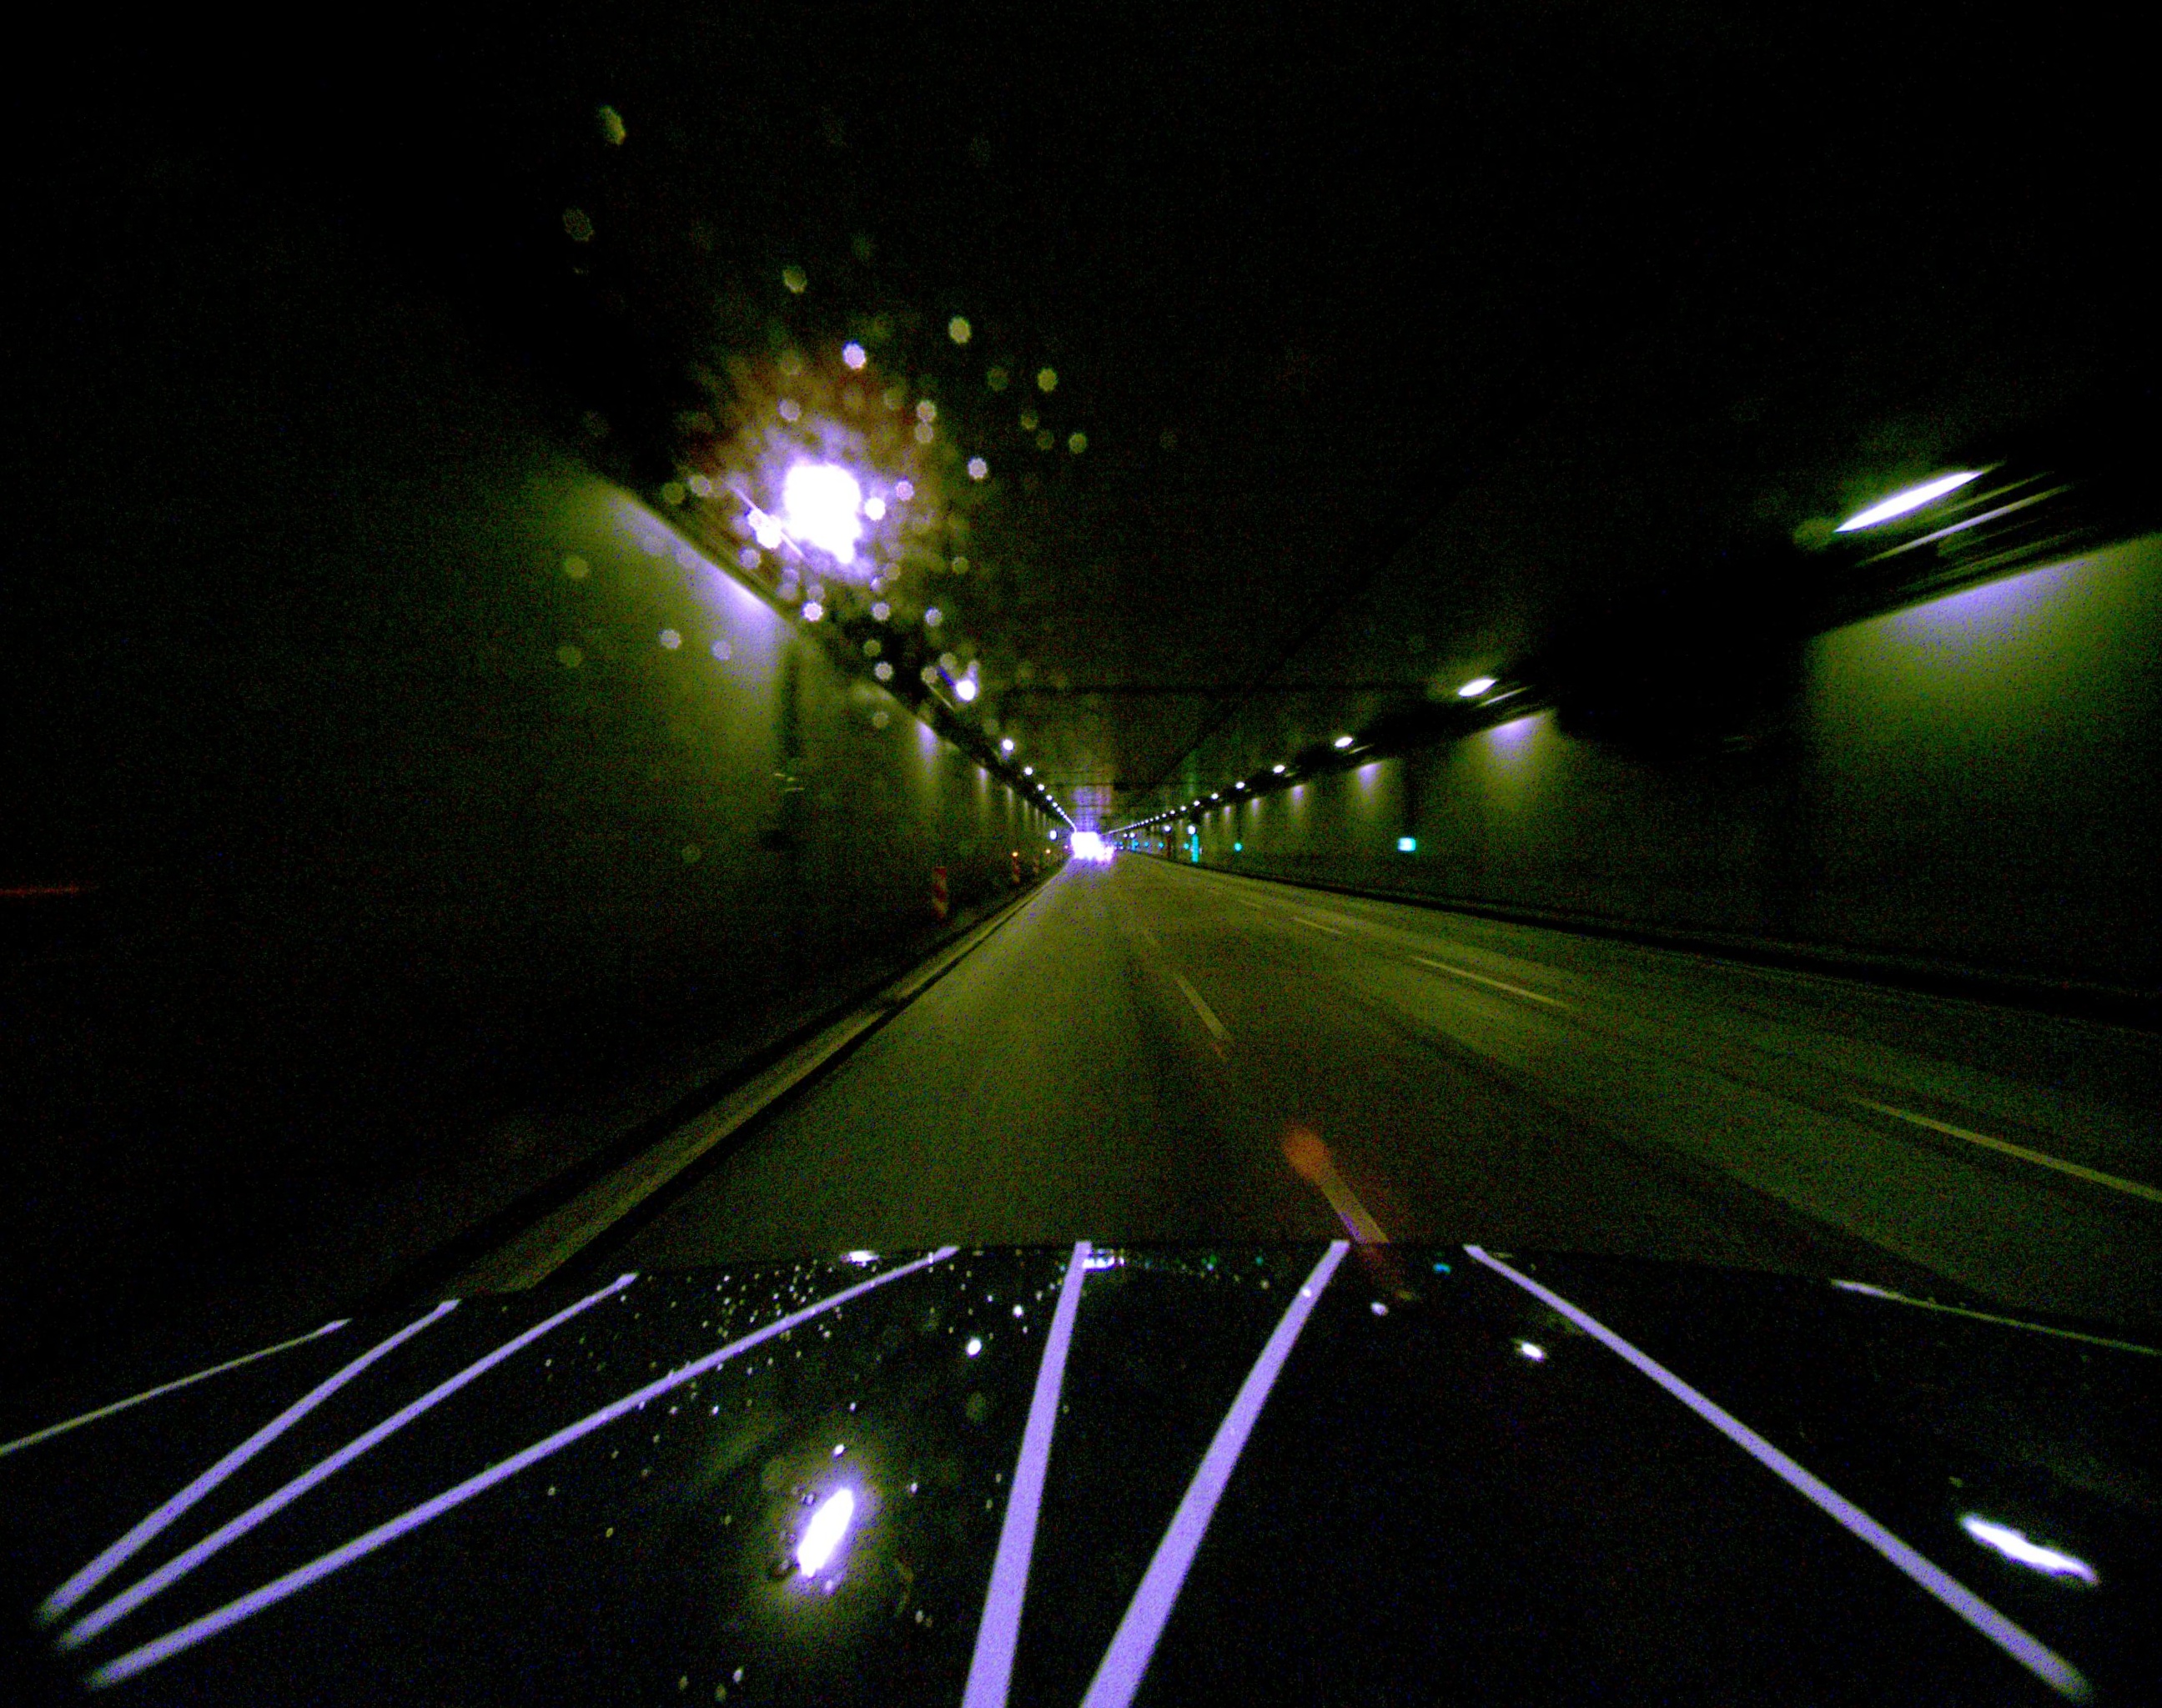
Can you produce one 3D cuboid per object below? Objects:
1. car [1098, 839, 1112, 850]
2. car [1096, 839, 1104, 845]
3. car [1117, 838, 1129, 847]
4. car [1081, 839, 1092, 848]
[{"bbox_3d":[3.836,-1.560,120.619,1.999,1.686,3.999,-2,1,0],"label":"car"},{"bbox_3d":[5.318,-3.331,213.455,1.998,1.756,3.999,-1,1,1],"label":"car"},{"bbox_3d":[7.892,-2.183,143.447,1.998,1.685,4.000,0,0,1],"label":"car"},{"bbox_3d":[1.037,-1.886,136.882,1.998,1.686,3.999,-1,1,1],"label":"car"}]
